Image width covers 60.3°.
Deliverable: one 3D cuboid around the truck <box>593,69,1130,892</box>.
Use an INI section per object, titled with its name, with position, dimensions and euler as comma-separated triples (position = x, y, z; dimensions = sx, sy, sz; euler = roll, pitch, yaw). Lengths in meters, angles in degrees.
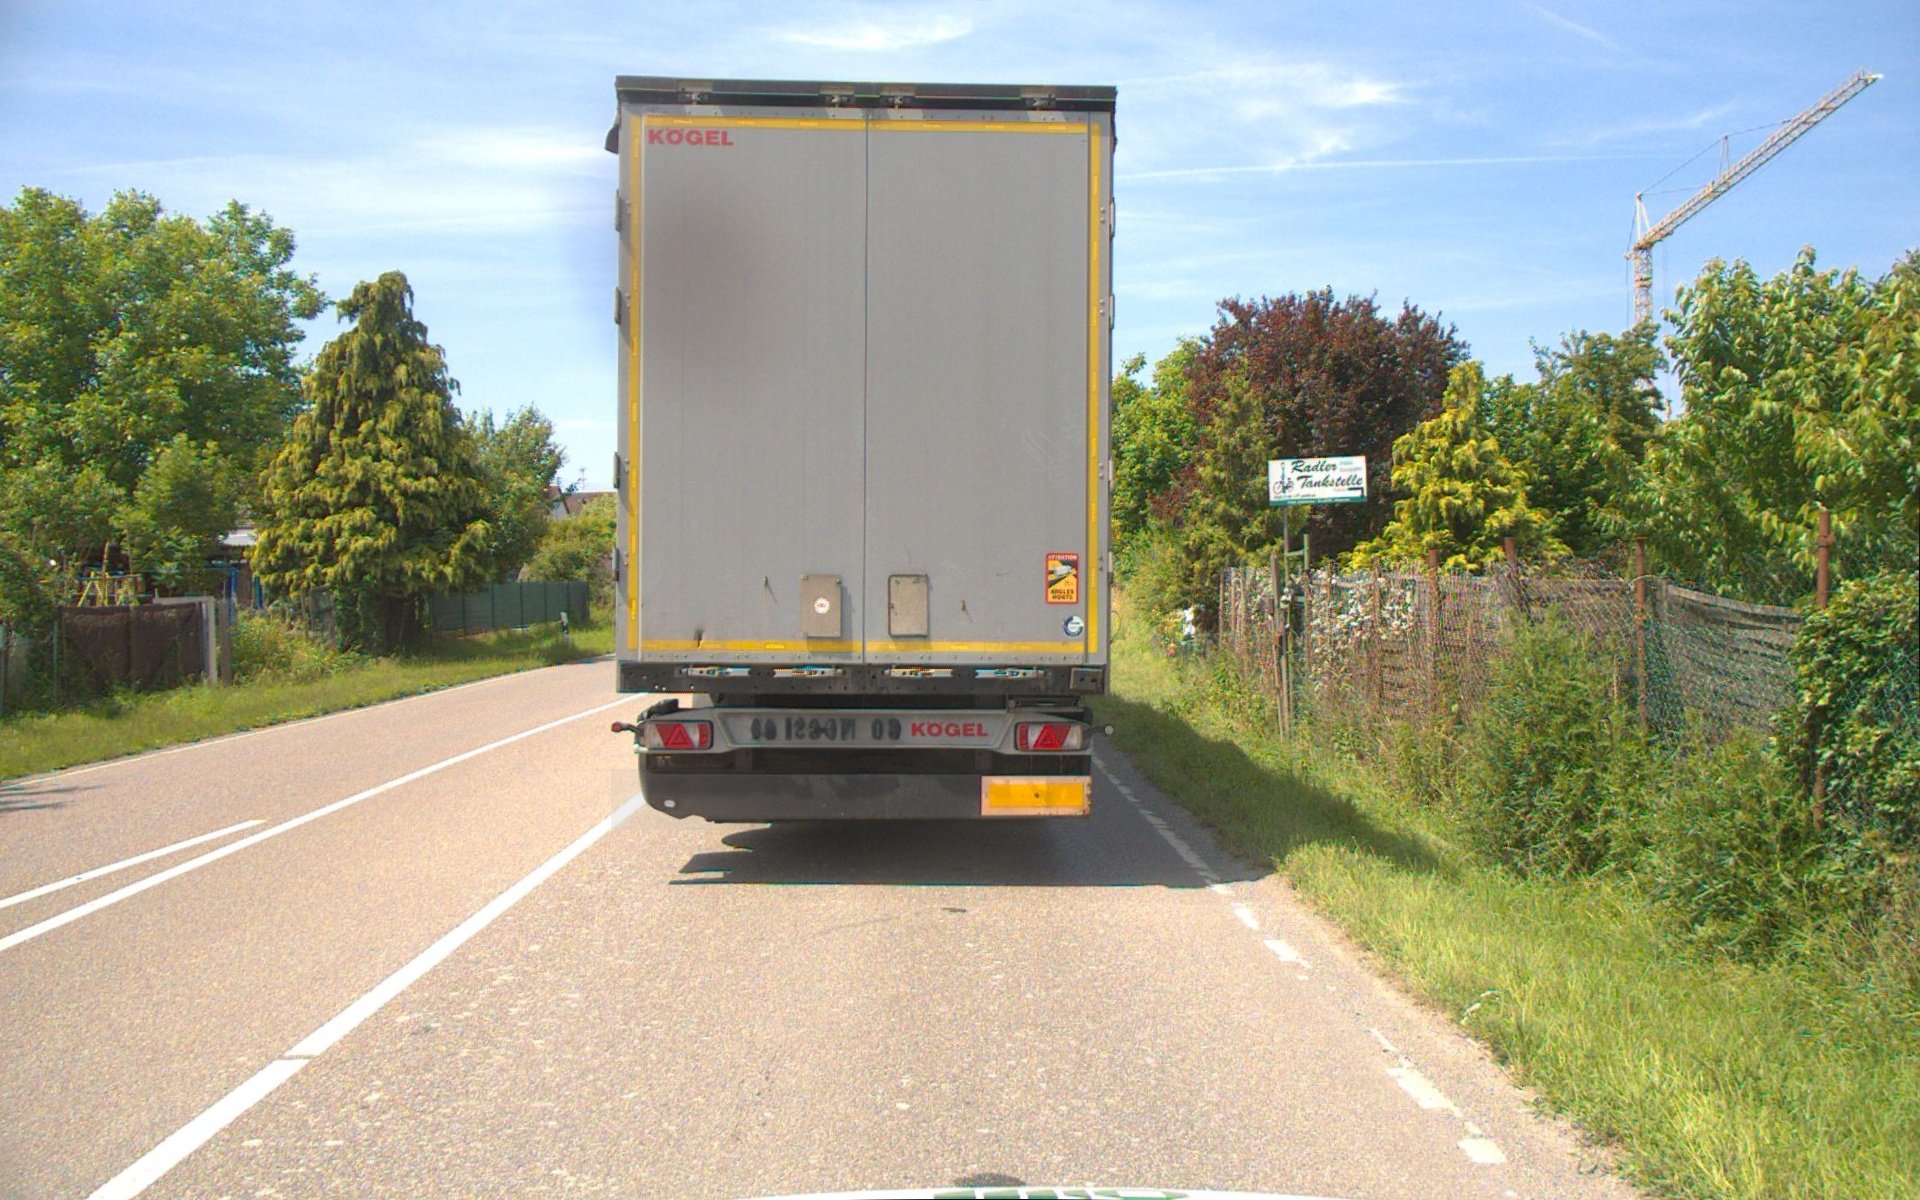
[truck]
position = -0.684, -0.604, 12.489
dimensions = 2.594, 3.985, 8.820
euler = 0, 0, -3
